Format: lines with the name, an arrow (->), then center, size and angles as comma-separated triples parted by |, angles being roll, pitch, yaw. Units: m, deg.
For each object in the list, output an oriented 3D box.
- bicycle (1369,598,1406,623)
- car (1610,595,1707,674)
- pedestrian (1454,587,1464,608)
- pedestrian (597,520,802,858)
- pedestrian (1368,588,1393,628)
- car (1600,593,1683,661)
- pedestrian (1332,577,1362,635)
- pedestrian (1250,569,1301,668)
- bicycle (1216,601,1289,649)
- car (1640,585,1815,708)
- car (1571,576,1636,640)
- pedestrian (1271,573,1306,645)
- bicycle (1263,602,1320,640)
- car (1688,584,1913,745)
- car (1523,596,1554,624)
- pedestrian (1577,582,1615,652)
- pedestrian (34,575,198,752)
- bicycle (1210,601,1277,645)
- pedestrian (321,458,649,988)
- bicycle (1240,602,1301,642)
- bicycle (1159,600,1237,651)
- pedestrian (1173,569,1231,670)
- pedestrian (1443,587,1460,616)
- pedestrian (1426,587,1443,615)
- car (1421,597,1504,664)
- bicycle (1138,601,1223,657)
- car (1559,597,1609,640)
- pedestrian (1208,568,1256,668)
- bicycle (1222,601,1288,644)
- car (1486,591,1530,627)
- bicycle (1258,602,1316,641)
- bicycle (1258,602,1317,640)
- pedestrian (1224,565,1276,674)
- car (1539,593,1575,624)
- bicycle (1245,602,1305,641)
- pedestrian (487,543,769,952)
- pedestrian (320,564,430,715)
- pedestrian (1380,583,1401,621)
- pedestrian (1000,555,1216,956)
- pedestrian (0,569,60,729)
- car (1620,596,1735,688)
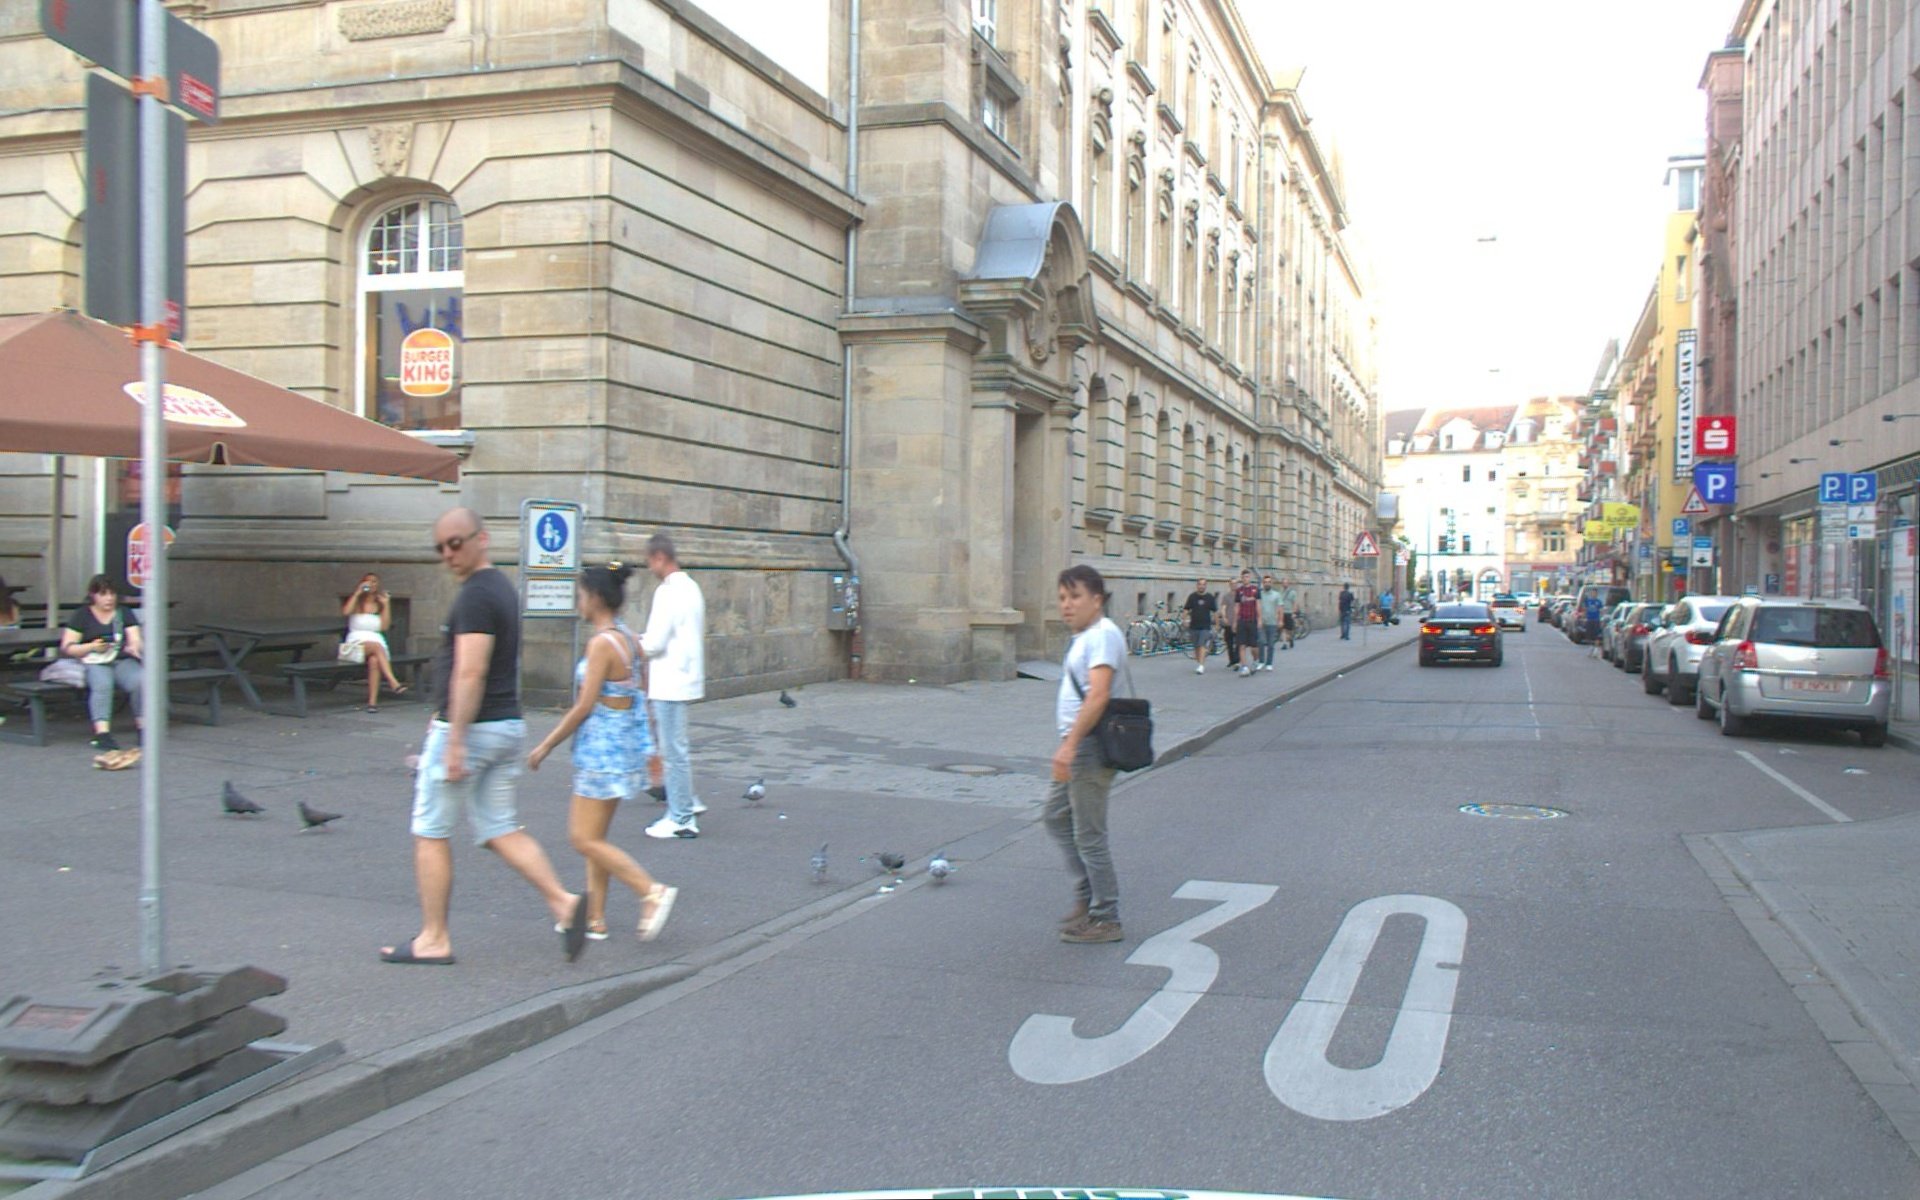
bicycle -> 20.724, 0.506, 80.191 | 1.645, 1.059, 0.487 | 5, 1, 20
car -> 15.174, 0.707, 36.068 | 1.610, 1.549, 3.286 | 3, 1, 18
pedestrian -> 43.115, -0.189, 142.939 | 0.652, 1.782, 0.681 | 4, 1, 15
pedestrian -> -1.540, 0.494, 9.891 | 0.853, 1.871, 0.868 | 4, 1, 13
pedestrian -> 18.094, 0.349, 71.091 | 0.914, 1.664, 0.655 | 4, 1, 16
car -> 17.146, 0.643, 41.710 | 1.610, 1.549, 3.286 | 3, 1, 18
pedestrian -> 12.429, 0.194, 53.059 | 0.787, 1.782, 0.810 | 4, 1, 16
pedestrian -> 5.913, 0.342, 30.973 | 0.770, 1.782, 0.722 | 4, 1, 16
bicycle -> 7.077, 0.594, 40.057 | 1.644, 1.059, 0.487 | 3, 1, 17
car -> 11.794, 0.643, 25.664 | 1.732, 1.664, 4.093 | 3, 1, 15
car -> 22.365, 0.248, 57.601 | 1.831, 2.053, 3.767 | 3, 1, 18
pedestrian -> 8.389, 0.226, 42.259 | 0.703, 1.782, 0.669 | 4, 1, 16
bicycle -> 10.255, 0.643, 51.169 | 1.644, 1.059, 0.487 | 3, 1, 17
car -> 10.052, 0.685, 20.076 | 1.733, 1.664, 4.054 | 3, 1, 18
car -> 34.995, 0.584, 100.070 | 1.610, 1.549, 3.286 | 3, 1, 18
pedestrian -> 16.909, 0.445, 43.970 | 0.712, 1.822, 0.819 | 1, 0, 38
pedestrian -> -6.500, 0.474, 12.747 | 0.811, 1.264, 0.779 | 4, 1, 33
bicycle -> 7.462, 0.601, 43.508 | 1.644, 1.059, 0.487 | 3, 1, 17
pedestrian -> -1.802, 0.430, 6.366 | 0.853, 1.872, 0.806 | 1, -1, 18
bicycle -> 8.993, 0.624, 47.859 | 1.644, 1.059, 0.487 | 3, 1, 17
bicycle -> 5.306, 0.569, 36.918 | 1.645, 1.059, 0.487 | 3, 1, 1
pedestrian -> 4.323, 0.335, 29.472 | 0.780, 1.704, 0.975 | 4, 1, 16
pedestrian -> 31.688, 0.076, 106.673 | 0.914, 1.782, 0.811 | 4, 1, 15
pedestrian -> 30.580, 0.061, 106.641 | 0.914, 1.782, 0.811 | 4, 1, 15
car -> 11.537, 0.657, 37.903 | 1.732, 1.433, 4.054 | 0, 0, 18
bicycle -> 4.555, 0.593, 34.177 | 1.646, 1.059, 0.487 | 3, 1, 24
car -> 24.441, 0.720, 64.818 | 1.610, 1.549, 3.286 | 3, 1, 18
pedestrian -> 5.063, 0.330, 30.762 | 0.674, 1.782, 0.722 | 4, 1, 16
bicycle -> 7.969, 0.608, 44.677 | 1.644, 1.059, 0.487 | 3, 1, 17
car -> 24.393, 0.373, 73.729 | 1.756, 1.536, 4.002 | 1, 1, 17
bicycle -> 9.784, 0.635, 49.480 | 1.644, 1.059, 0.487 | 3, 1, 17
bicycle -> 9.890, 0.637, 49.934 | 1.644, 1.059, 0.487 | 3, 1, 17
pedestrian -> 5.108, 0.330, 29.117 | 0.683, 1.843, 0.975 | 4, 1, 16
car -> 31.189, 0.429, 86.511 | 1.610, 1.549, 3.286 | 3, 1, 18
bicycle -> 9.191, 0.627, 48.273 | 1.644, 1.059, 0.487 | 3, 1, 17
pedestrian -> -1.397, 0.585, 7.068 | 0.853, 1.609, 0.806 | 1, -1, 18
pedestrian -> -5.520, 0.359, 15.603 | 0.760, 1.331, 0.660 | 6, 4, 43
pedestrian -> 20.740, 0.086, 79.699 | 0.791, 1.782, 0.937 | 4, 1, 17
pedestrian -> 0.679, 0.652, 7.387 | 0.850, 1.675, 0.733 | 0, -1, 13
pedestrian -> -7.803, 0.384, 13.386 | 0.686, 1.247, 0.615 | 4, 1, 33
car -> 13.448, 0.741, 31.139 | 1.610, 1.549, 3.286 | 3, 1, 18
